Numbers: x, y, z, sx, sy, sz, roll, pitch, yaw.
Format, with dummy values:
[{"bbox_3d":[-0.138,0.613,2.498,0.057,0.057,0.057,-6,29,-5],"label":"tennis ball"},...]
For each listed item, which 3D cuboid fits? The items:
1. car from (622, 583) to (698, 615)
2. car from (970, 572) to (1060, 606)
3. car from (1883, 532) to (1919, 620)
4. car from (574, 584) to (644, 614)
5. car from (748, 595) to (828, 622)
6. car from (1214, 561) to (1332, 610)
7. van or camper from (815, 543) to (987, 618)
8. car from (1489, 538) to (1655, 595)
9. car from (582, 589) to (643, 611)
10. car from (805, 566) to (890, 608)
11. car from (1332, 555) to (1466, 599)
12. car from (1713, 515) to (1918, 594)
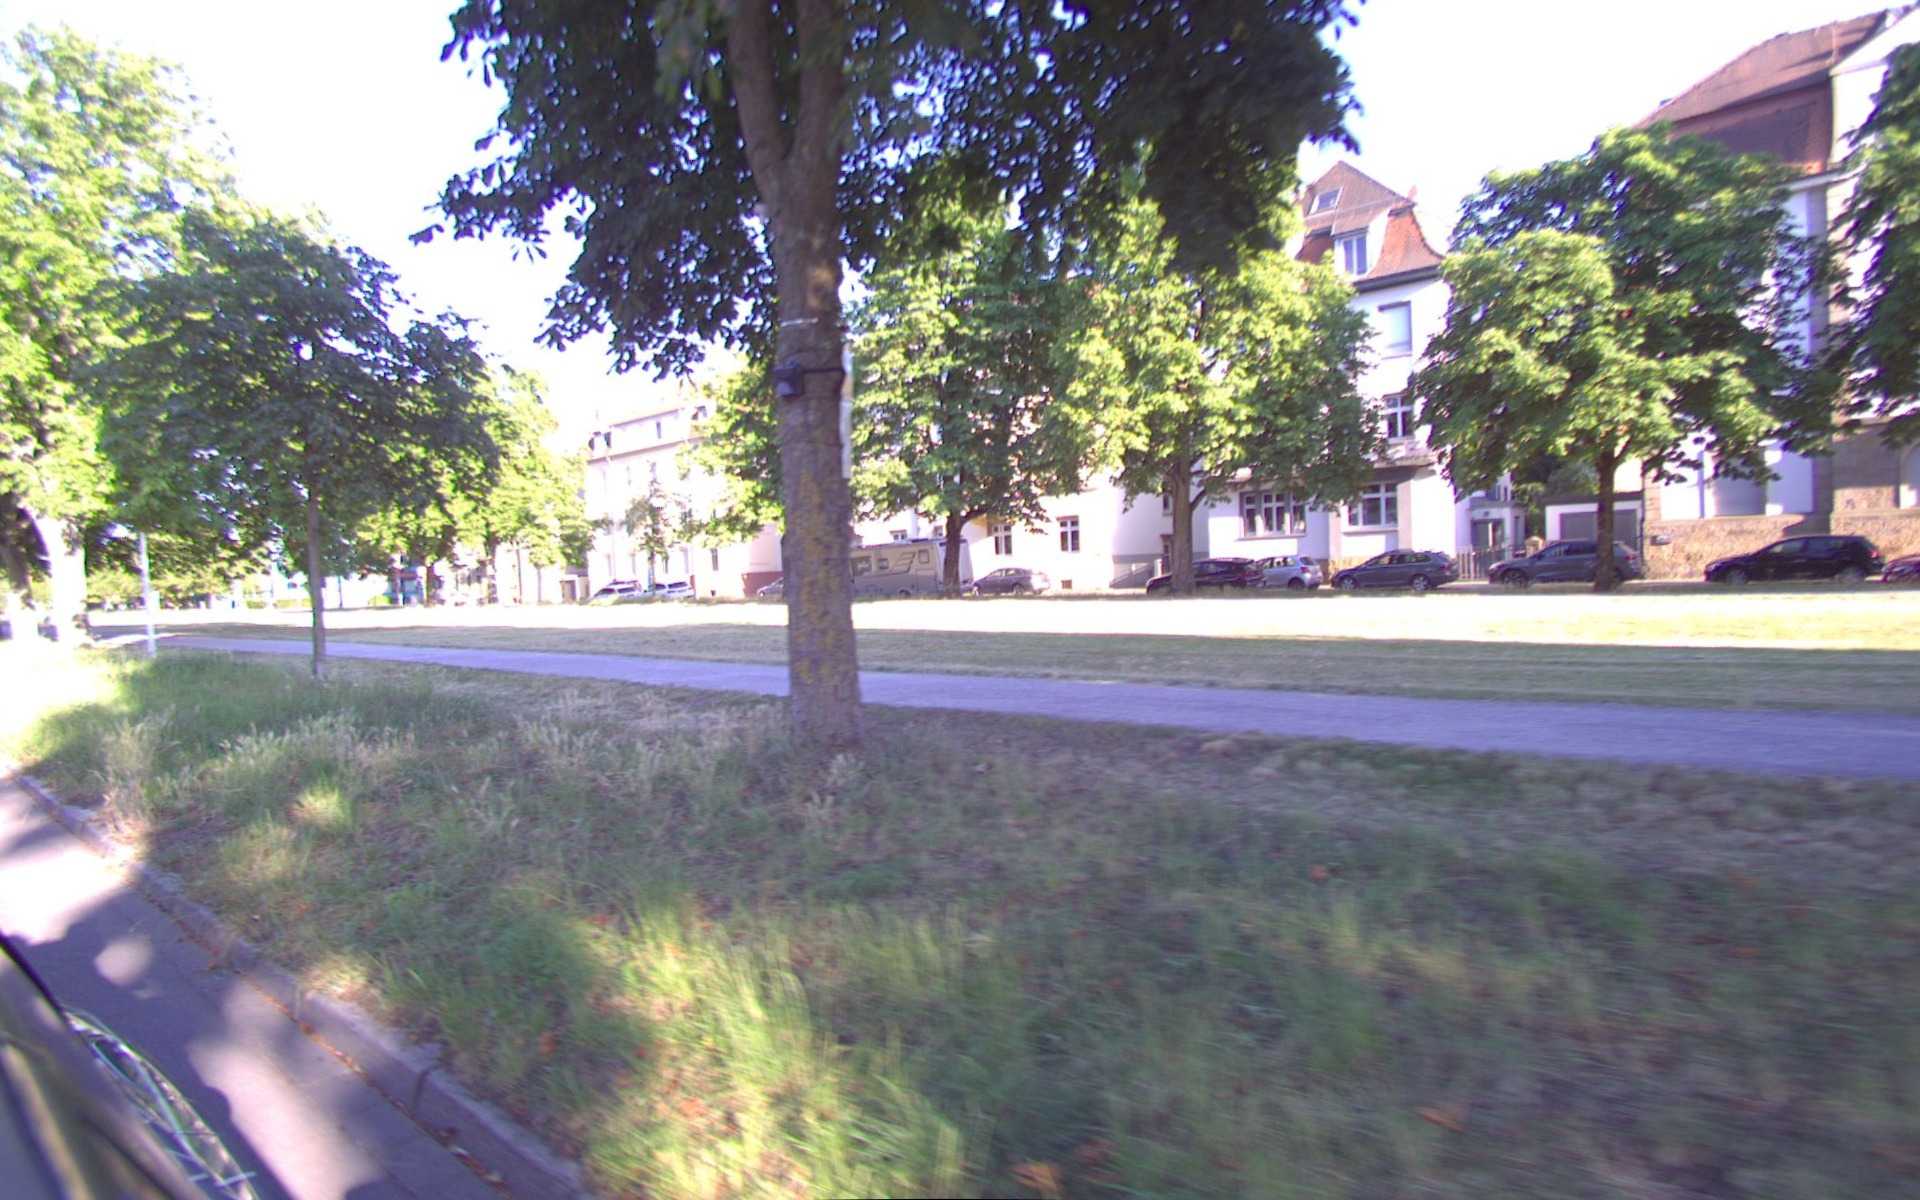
[{"bbox_3d":[-17.717,-0.039,59.658,4.874,1.703,1.973,-1,2,42],"label":"car"},{"bbox_3d":[2.677,-0.519,49.402,3.998,1.475,1.973,-1,2,41],"label":"car"},{"bbox_3d":[23.956,-0.626,22.616,4.876,2.028,1.972,-1,2,43],"label":"car"},{"bbox_3d":[-21.993,-0.075,63.392,4.874,1.703,1.973,-1,2,42],"label":"car"},{"bbox_3d":[-10.319,0.501,60.627,4.871,1.464,1.974,-1,2,39],"label":"car"},{"bbox_3d":[12.476,-0.563,40.445,4.000,1.747,1.972,-2,1,43],"label":"car"},{"bbox_3d":[-2.862,-0.853,46.751,7.894,3.134,3.220,-1,2,42],"label":"van or camper"},{"bbox_3d":[20.236,-1.082,33.552,4.426,1.664,1.974,-1,2,40],"label":"car"},{"bbox_3d":[-25.724,0.009,74.868,4.870,1.464,1.974,-1,2,39],"label":"car"},{"bbox_3d":[-6.377,-0.712,57.156,4.874,2.219,1.973,-1,2,42],"label":"car"},{"bbox_3d":[16.258,-0.835,37.530,4.164,1.440,1.974,-2,1,39],"label":"car"},{"bbox_3d":[24.827,-1.283,29.562,4.426,2.028,1.974,-1,2,40],"label":"car"}]
